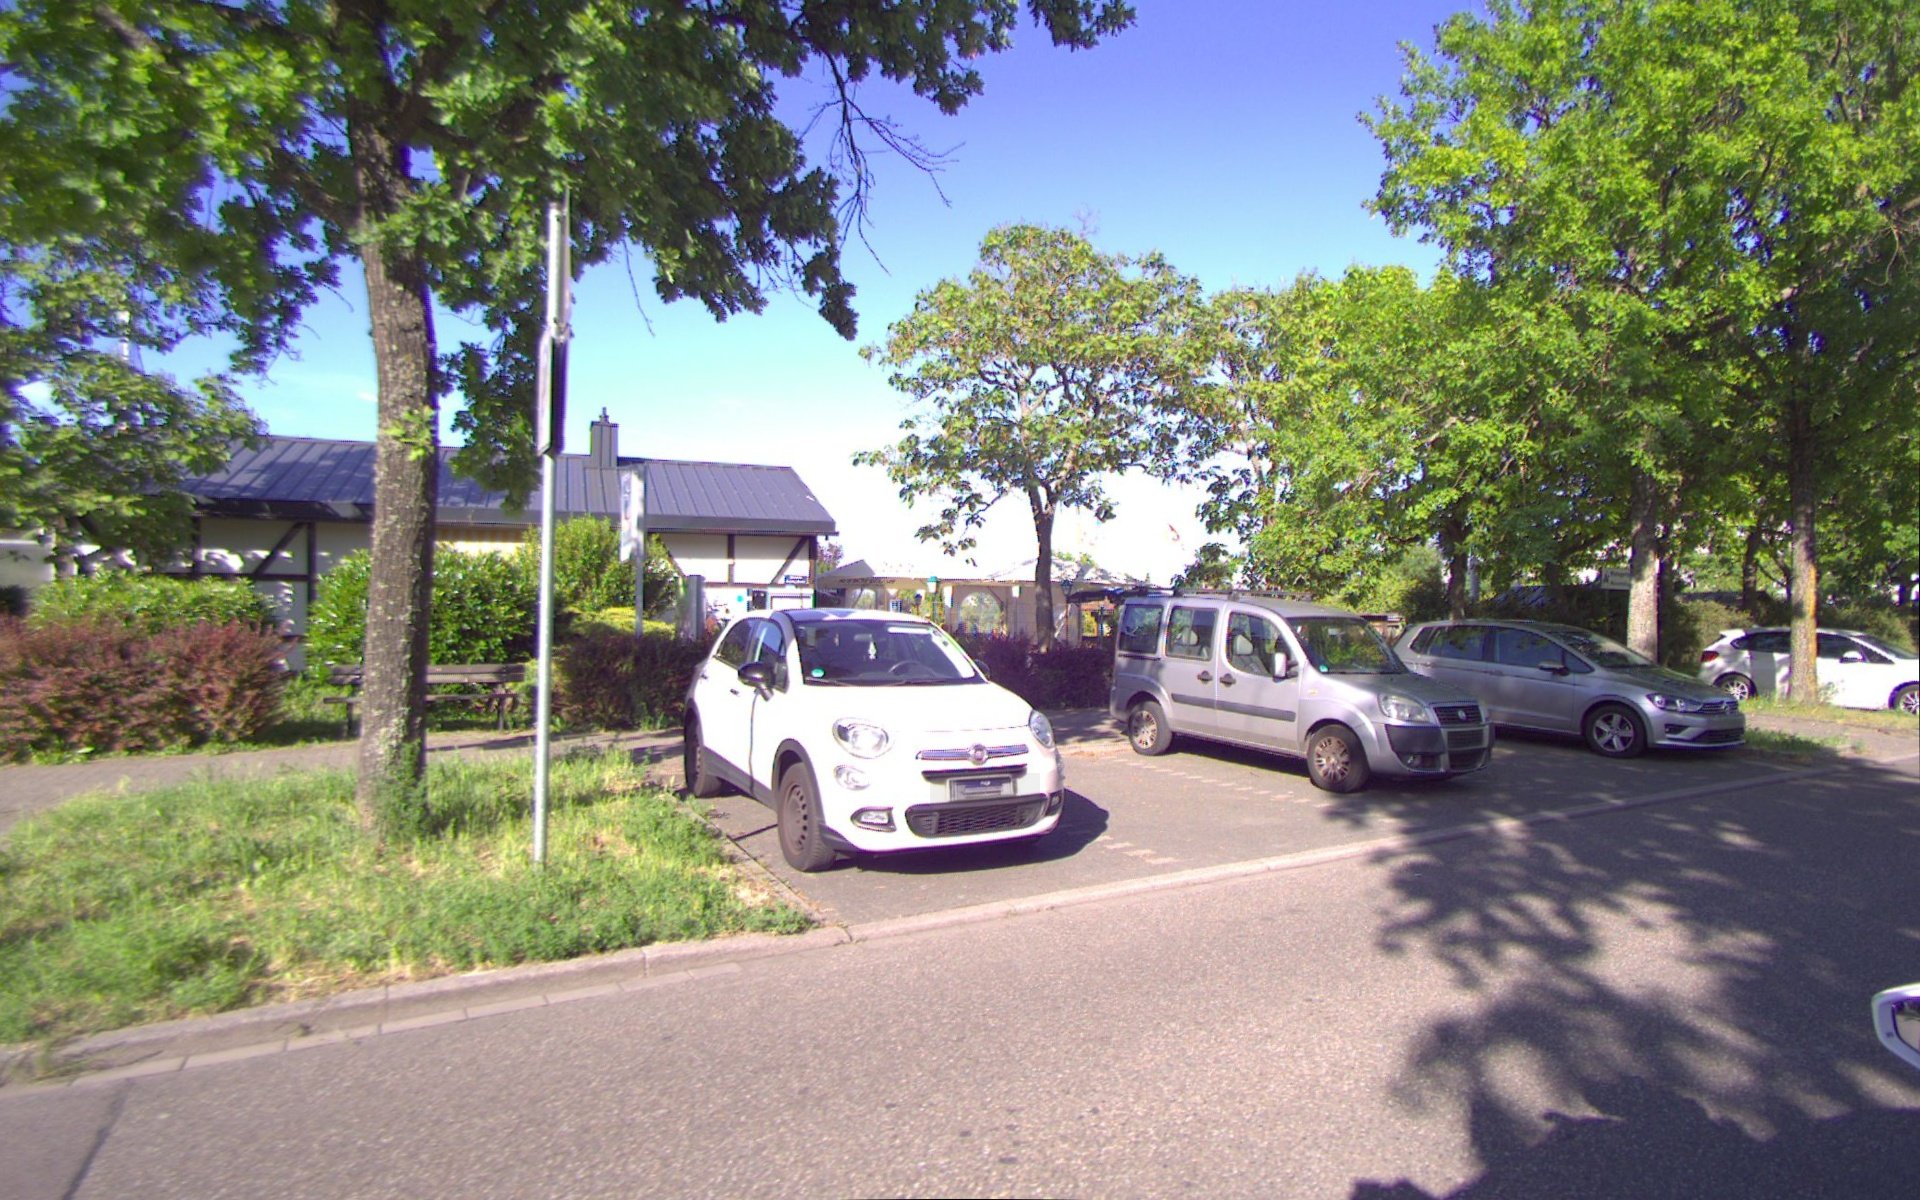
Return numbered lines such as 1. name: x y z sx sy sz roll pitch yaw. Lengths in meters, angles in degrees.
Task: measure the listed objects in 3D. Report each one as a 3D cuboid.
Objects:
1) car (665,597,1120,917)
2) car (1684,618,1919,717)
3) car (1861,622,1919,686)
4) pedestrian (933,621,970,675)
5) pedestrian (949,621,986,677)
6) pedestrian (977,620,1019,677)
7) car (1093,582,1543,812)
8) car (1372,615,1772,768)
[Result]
1. car: -0.804 0.833 7.507 1.853 1.664 4.045 1 0 -29
2. car: 16.359 1.179 18.560 2.063 1.577 4.391 1 0 -30
3. car: 24.893 1.356 24.172 2.065 1.531 4.388 0 0 -32
4. pedestrian: -0.215 1.233 25.926 0.854 1.352 0.664 0 -1 -12
5. pedestrian: 0.191 1.229 25.403 0.653 1.379 0.868 0 -1 25
6. pedestrian: 0.968 1.228 25.806 0.856 1.432 0.663 -1 -1 39
7. car: 3.516 0.801 10.663 1.976 1.908 4.205 1 0 -31
8. car: 7.769 1.037 13.179 1.843 1.577 4.116 1 0 -30
